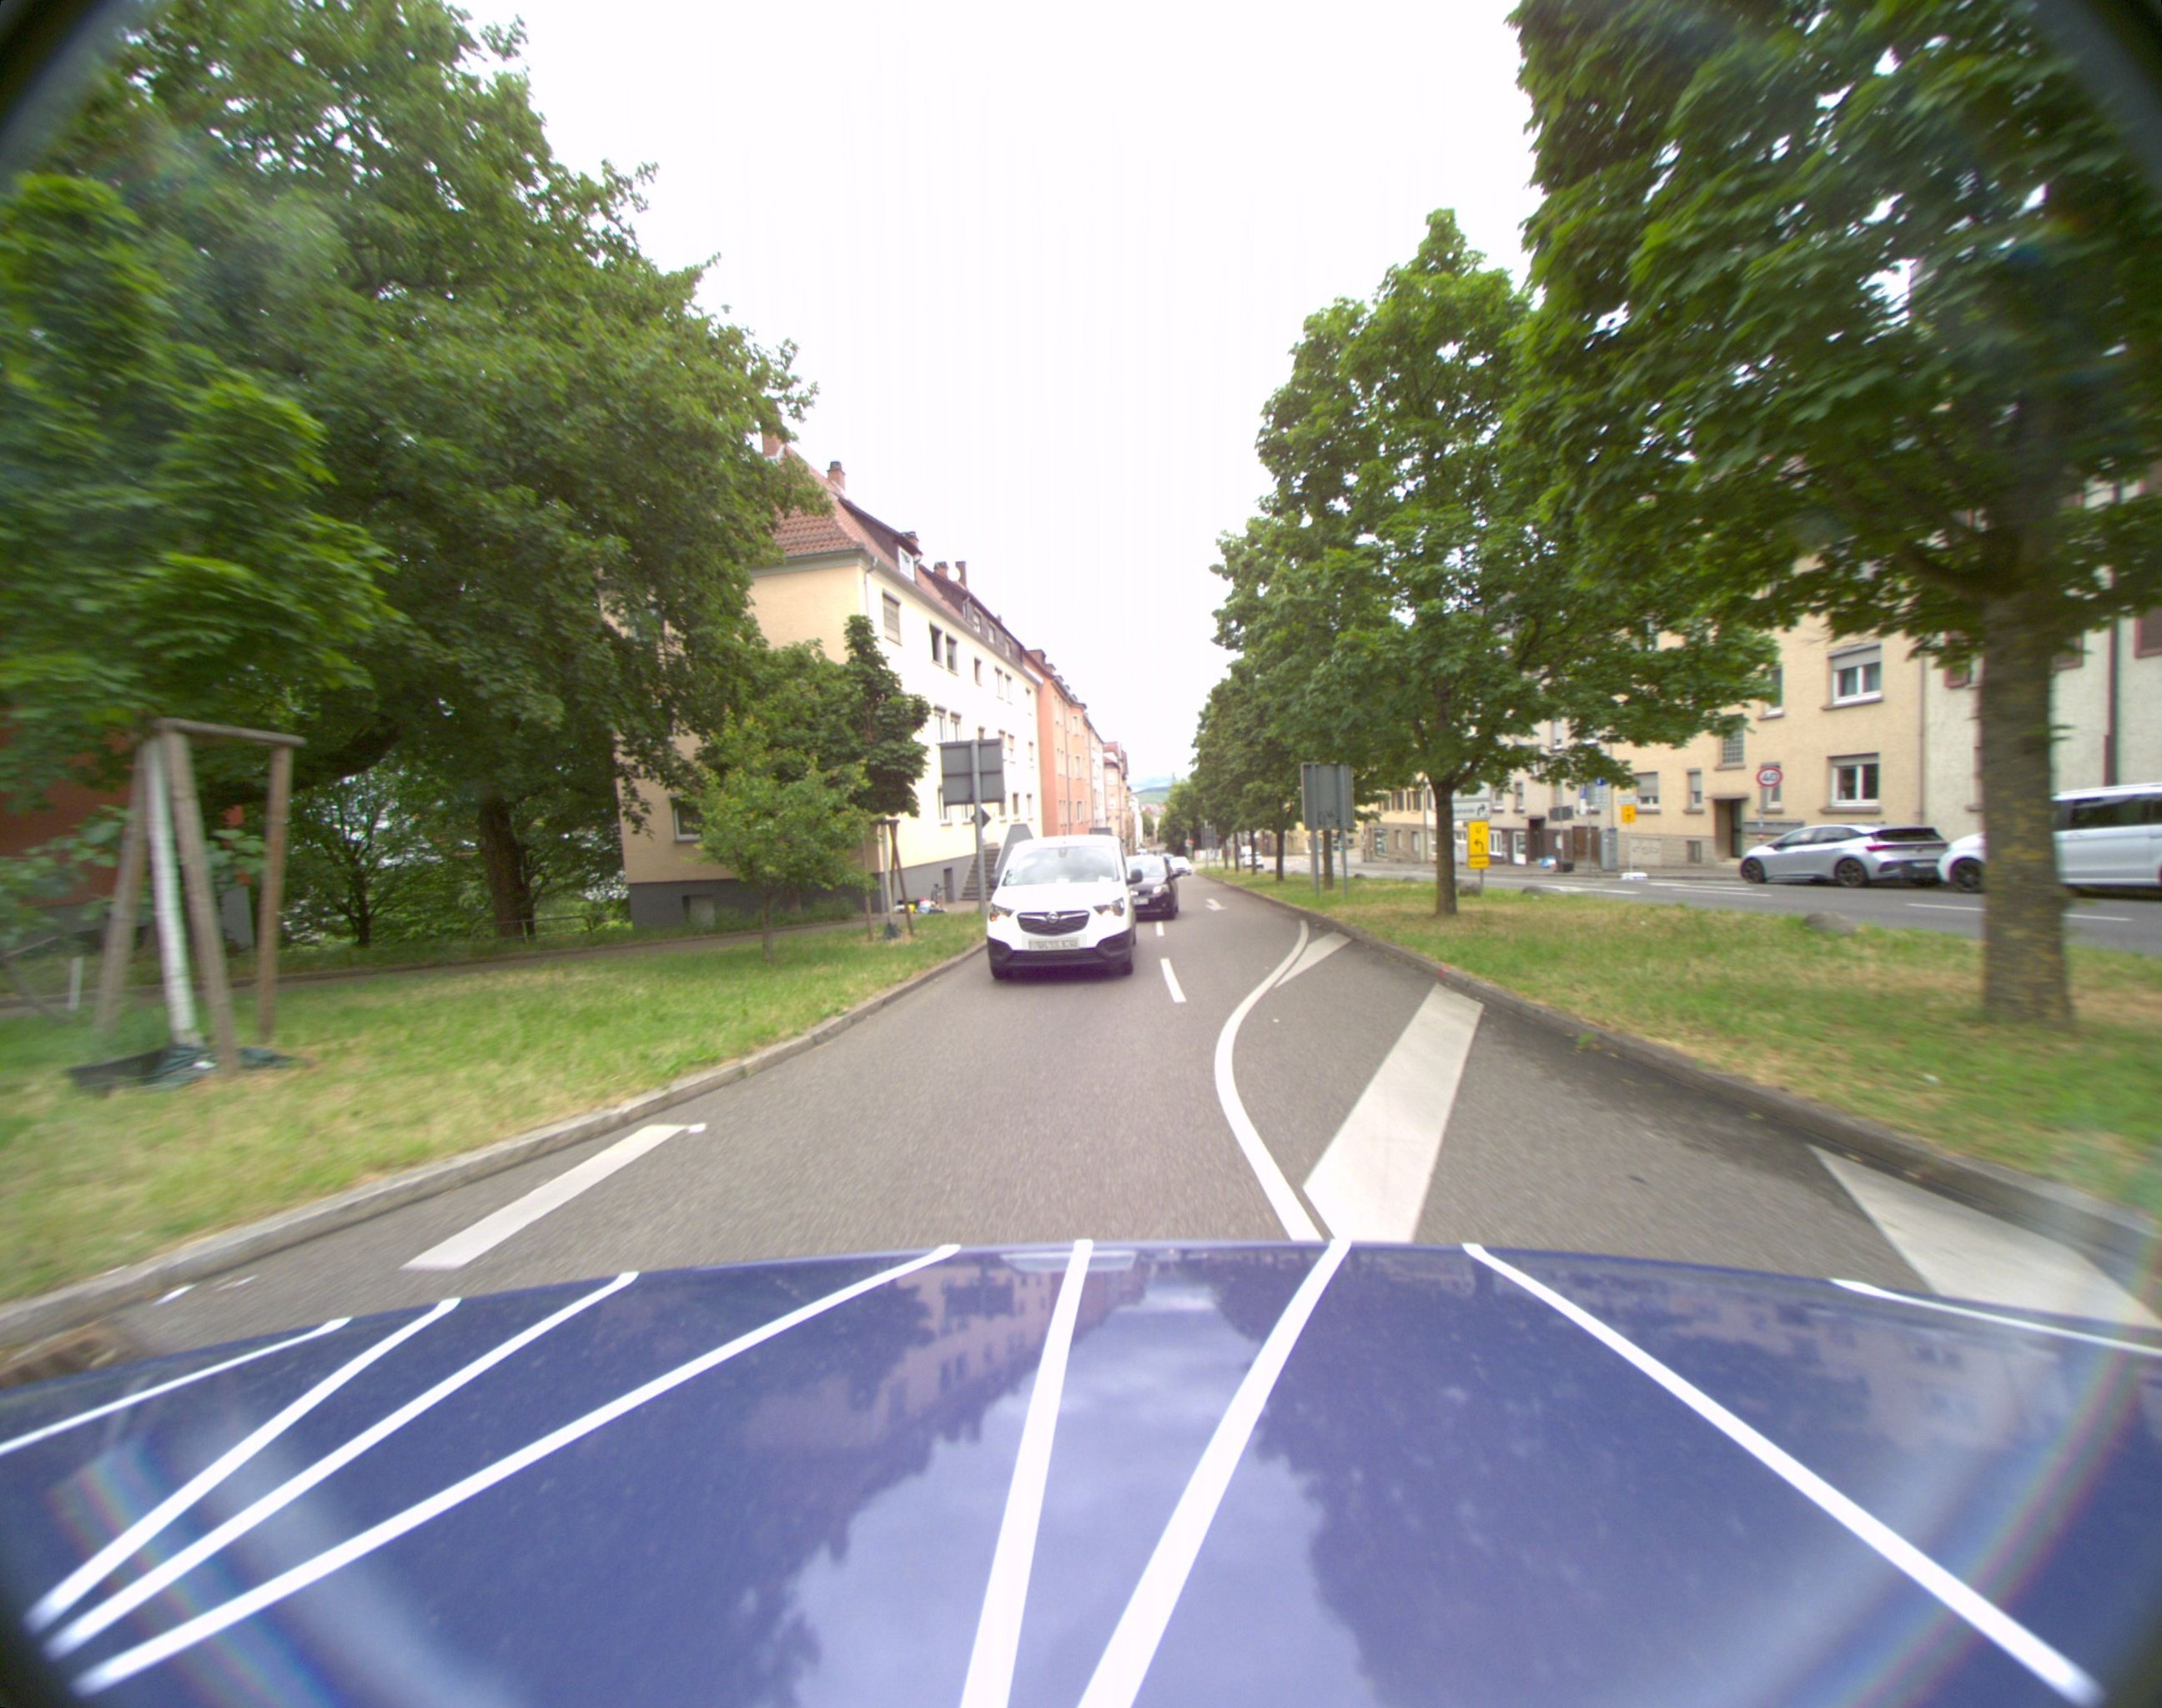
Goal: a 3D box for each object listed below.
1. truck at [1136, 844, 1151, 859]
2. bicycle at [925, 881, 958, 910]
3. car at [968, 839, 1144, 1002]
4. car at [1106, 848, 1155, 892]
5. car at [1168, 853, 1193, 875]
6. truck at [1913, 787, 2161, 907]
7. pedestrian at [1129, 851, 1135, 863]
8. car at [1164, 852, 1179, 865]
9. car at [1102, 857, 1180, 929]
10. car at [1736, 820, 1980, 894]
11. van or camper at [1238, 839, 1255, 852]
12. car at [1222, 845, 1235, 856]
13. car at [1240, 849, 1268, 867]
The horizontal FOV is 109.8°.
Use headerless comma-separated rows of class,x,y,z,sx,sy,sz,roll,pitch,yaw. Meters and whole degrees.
truck,13.153,-0.544,159.601,2.551,2.891,7.781,-2,0,7
bicycle,-4.314,1.275,23.598,0.489,0.768,1.559,-2,0,9
car,-0.090,0.736,11.018,1.788,1.779,4.846,-3,0,6
car,2.153,0.633,32.253,1.779,1.598,4.165,-5,0,5
car,7.904,0.767,60.557,1.783,1.584,3.533,0,2,4
truck,18.263,-0.164,13.222,1.998,1.909,5.348,-2,0,5
pedestrian,6.898,0.372,103.397,0.734,1.638,1.005,-4,1,4
car,11.985,0.632,100.855,1.783,1.584,3.533,0,2,4
car,1.470,0.873,18.406,1.603,1.448,3.686,-4,-1,5
car,18.935,0.045,18.855,1.998,1.543,4.159,-2,0,5
van or camper,24.471,-1.212,112.308,1.912,1.751,4.656,-3,0,6
car,27.975,-0.709,144.127,1.883,1.804,4.355,-3,-2,7
car,15.309,0.295,67.454,1.749,1.458,4.587,-3,0,5
